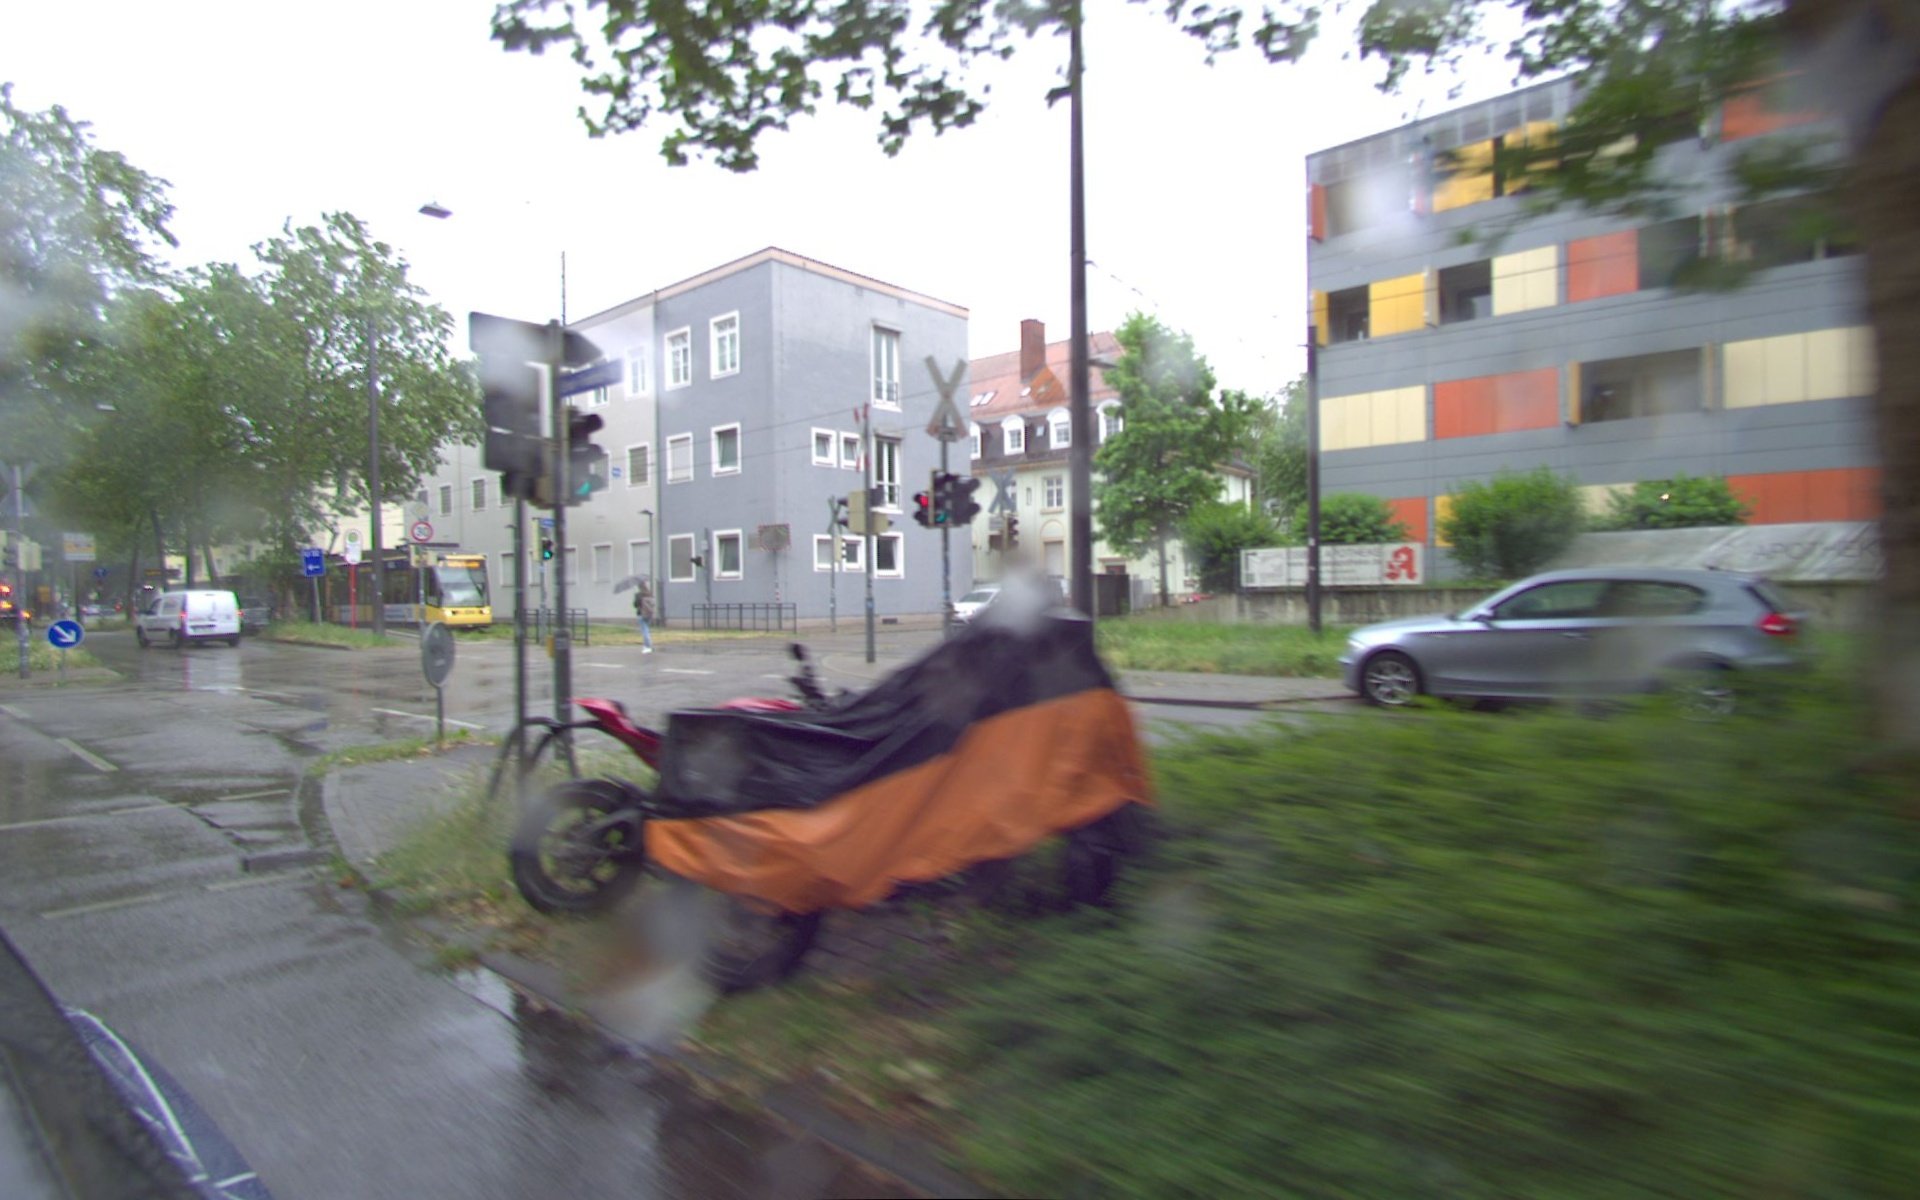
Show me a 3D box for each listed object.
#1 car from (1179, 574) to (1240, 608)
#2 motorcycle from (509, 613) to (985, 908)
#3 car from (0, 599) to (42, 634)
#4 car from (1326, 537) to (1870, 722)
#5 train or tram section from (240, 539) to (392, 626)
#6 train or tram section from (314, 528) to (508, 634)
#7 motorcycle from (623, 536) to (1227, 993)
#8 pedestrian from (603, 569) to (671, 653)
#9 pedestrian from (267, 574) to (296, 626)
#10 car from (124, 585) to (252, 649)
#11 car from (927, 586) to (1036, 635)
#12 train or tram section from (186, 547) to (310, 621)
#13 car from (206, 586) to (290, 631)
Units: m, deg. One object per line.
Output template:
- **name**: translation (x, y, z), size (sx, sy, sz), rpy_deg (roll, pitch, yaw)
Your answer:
- **car**: translation (14.083, -0.539, 56.995), size (1.997, 1.763, 3.951), rpy_deg (0, 2, 37)
- **motorcycle**: translation (-0.991, 0.731, 5.069), size (2.110, 1.218, 0.870), rpy_deg (-2, 2, -4)
- **car**: translation (-47.893, 0.827, 50.601), size (4.666, 1.631, 2.037), rpy_deg (-1, 2, 37)
- **car**: translation (6.235, 0.202, 10.222), size (4.387, 1.474, 1.884), rpy_deg (0, 2, 43)
- **train or tram section**: translation (-30.627, -0.816, 47.808), size (11.548, 3.669, 2.870), rpy_deg (0, 3, 42)
- **train or tram section**: translation (-22.019, -0.762, 40.126), size (11.548, 3.669, 2.870), rpy_deg (0, 3, 42)
- **motorcycle**: translation (-0.127, 0.548, 3.938), size (2.077, 1.511, 0.773), rpy_deg (-2, 2, -5)
- **pedestrian**: translation (-7.272, 0.226, 22.779), size (1.205, 1.813, 0.926), rpy_deg (0, 2, 41)
- **pedestrian**: translation (-24.653, -0.012, 36.757), size (0.635, 1.869, 0.654), rpy_deg (0, 2, 42)
- **car**: translation (-24.614, 0.512, 32.250), size (4.054, 1.863, 1.917), rpy_deg (-1, 2, 33)
- **car**: translation (0.835, 0.328, 36.588), size (1.886, 1.539, 4.039), rpy_deg (-1, 2, 38)
- **train or tram section**: translation (-39.249, -0.873, 55.544), size (11.548, 3.669, 2.870), rpy_deg (0, 3, 42)
- **car**: translation (-27.667, 0.312, 39.301), size (3.972, 1.519, 1.656), rpy_deg (0, 5, 41)
